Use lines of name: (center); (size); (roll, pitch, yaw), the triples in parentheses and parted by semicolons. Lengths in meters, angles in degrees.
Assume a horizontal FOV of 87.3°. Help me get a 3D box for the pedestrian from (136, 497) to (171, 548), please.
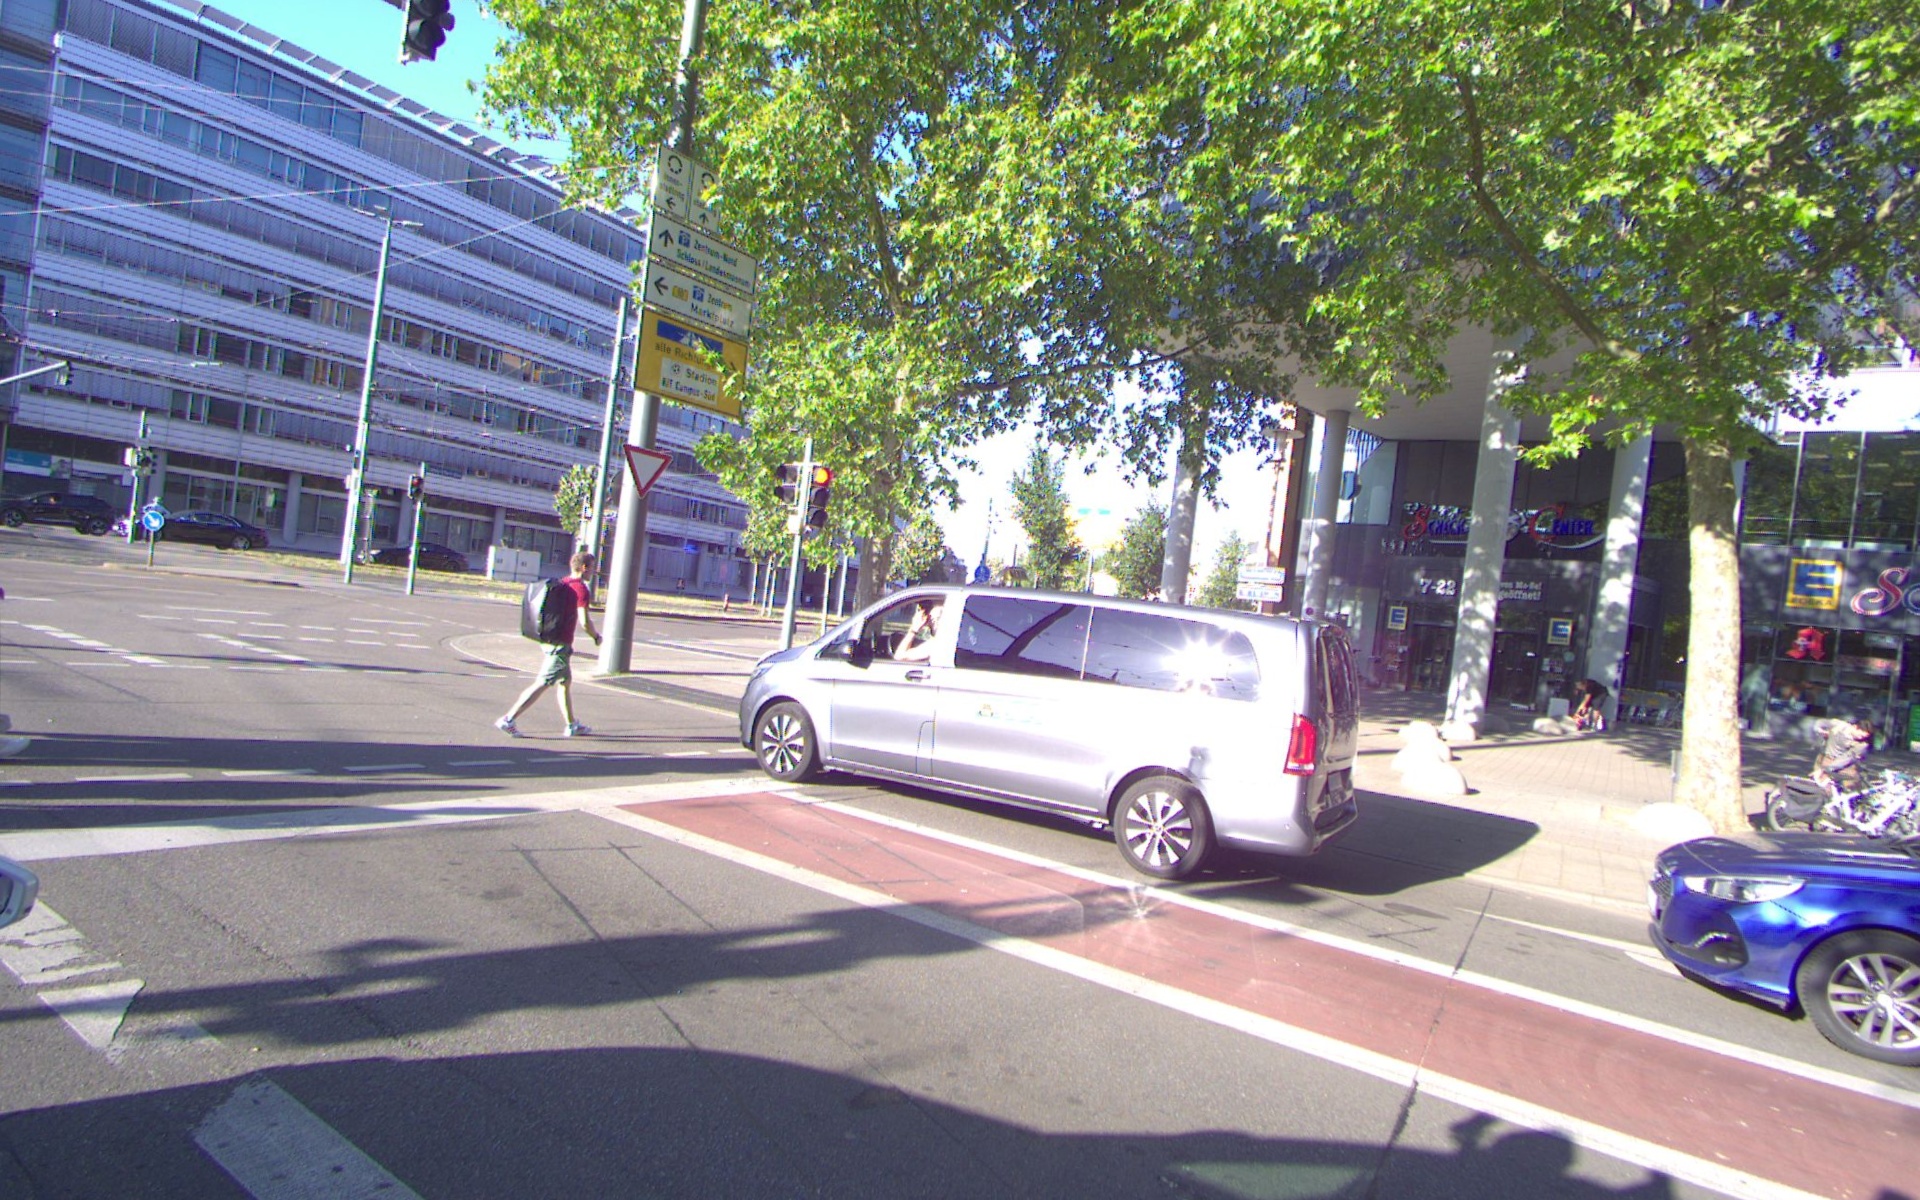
pedestrian: (-29.029, -2.780, 36.217); (0.549, 1.701, 0.719); (7, -1, 39)

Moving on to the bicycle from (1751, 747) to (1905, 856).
bicycle: (10.660, 2.447, 12.387); (0.393, 1.038, 1.305); (6, 1, -42)

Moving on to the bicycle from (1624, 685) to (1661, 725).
bicycle: (21.406, 3.291, 31.531); (0.709, 1.142, 1.912); (7, 0, 39)

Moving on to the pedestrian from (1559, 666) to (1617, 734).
pedestrian: (16.901, 2.681, 27.108); (0.950, 1.662, 0.866); (7, 1, 16)

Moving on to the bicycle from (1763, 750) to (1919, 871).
bicycle: (9.863, 2.301, 10.988); (1.545, 1.038, 0.461); (7, 1, 29)

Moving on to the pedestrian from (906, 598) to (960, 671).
pedestrian: (-0.683, 0.887, 25.510); (0.855, 1.701, 0.845); (7, -1, 39)

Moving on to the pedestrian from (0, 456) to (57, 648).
pedestrian: (-9.904, -0.541, 9.780); (1.023, 1.843, 1.212); (7, -1, 26)

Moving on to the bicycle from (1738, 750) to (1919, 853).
bicycle: (11.844, 2.675, 13.404); (0.661, 0.945, 2.167); (7, 0, -30)

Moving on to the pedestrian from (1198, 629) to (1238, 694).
pedestrian: (6.999, 1.659, 27.287); (0.694, 1.662, 0.775); (7, 1, 27)

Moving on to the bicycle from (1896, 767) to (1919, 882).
bicycle: (10.002, 2.272, 9.502); (1.548, 1.070, 0.627); (7, 1, 38)

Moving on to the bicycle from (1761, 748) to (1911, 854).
bicycle: (11.054, 2.506, 12.724); (0.393, 1.038, 1.305); (6, 1, -42)

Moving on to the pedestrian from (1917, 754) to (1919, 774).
pedestrian: (24.392, 3.450, 24.750); (0.990, 1.867, 0.844); (6, 1, -33)

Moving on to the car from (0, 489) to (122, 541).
car: (-36.095, -3.404, 39.990); (1.766, 1.525, 3.863); (7, 0, 33)

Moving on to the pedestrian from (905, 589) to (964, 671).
pedestrian: (-0.616, 0.727, 24.323); (0.855, 1.841, 0.845); (7, -1, 39)

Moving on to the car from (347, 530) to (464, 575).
car: (-25.104, -2.136, 45.682); (1.768, 1.409, 4.241); (7, 0, 36)

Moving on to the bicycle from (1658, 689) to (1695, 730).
bicycle: (22.030, 3.367, 30.922); (0.709, 1.142, 1.912); (7, 0, 39)

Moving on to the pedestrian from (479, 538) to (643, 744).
pedestrian: (-3.644, 0.390, 9.253); (0.617, 1.735, 1.076); (7, -1, 28)

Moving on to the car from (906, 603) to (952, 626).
car: (-2.492, 1.180, 82.260); (1.768, 1.484, 3.595); (7, 0, 37)

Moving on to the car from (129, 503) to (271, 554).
car: (-31.055, -2.890, 41.227); (1.766, 1.452, 4.246); (7, 0, 32)

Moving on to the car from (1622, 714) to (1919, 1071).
car: (5.907, 1.659, 5.009); (4.147, 1.482, 1.767); (7, 0, 32)

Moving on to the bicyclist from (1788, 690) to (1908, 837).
bicyclist: (11.870, 2.173, 13.462); (0.744, 1.790, 0.845); (6, 1, -30)

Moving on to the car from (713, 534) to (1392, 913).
car: (0.603, 0.764, 8.322); (5.052, 1.988, 1.997); (7, -2, 32)

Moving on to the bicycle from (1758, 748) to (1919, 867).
bicycle: (10.117, 2.342, 11.389); (1.545, 1.038, 0.461); (7, 1, 29)

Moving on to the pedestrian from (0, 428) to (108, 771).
pedestrian: (-5.522, -0.040, 5.398); (0.744, 1.827, 1.075); (7, -1, 25)
